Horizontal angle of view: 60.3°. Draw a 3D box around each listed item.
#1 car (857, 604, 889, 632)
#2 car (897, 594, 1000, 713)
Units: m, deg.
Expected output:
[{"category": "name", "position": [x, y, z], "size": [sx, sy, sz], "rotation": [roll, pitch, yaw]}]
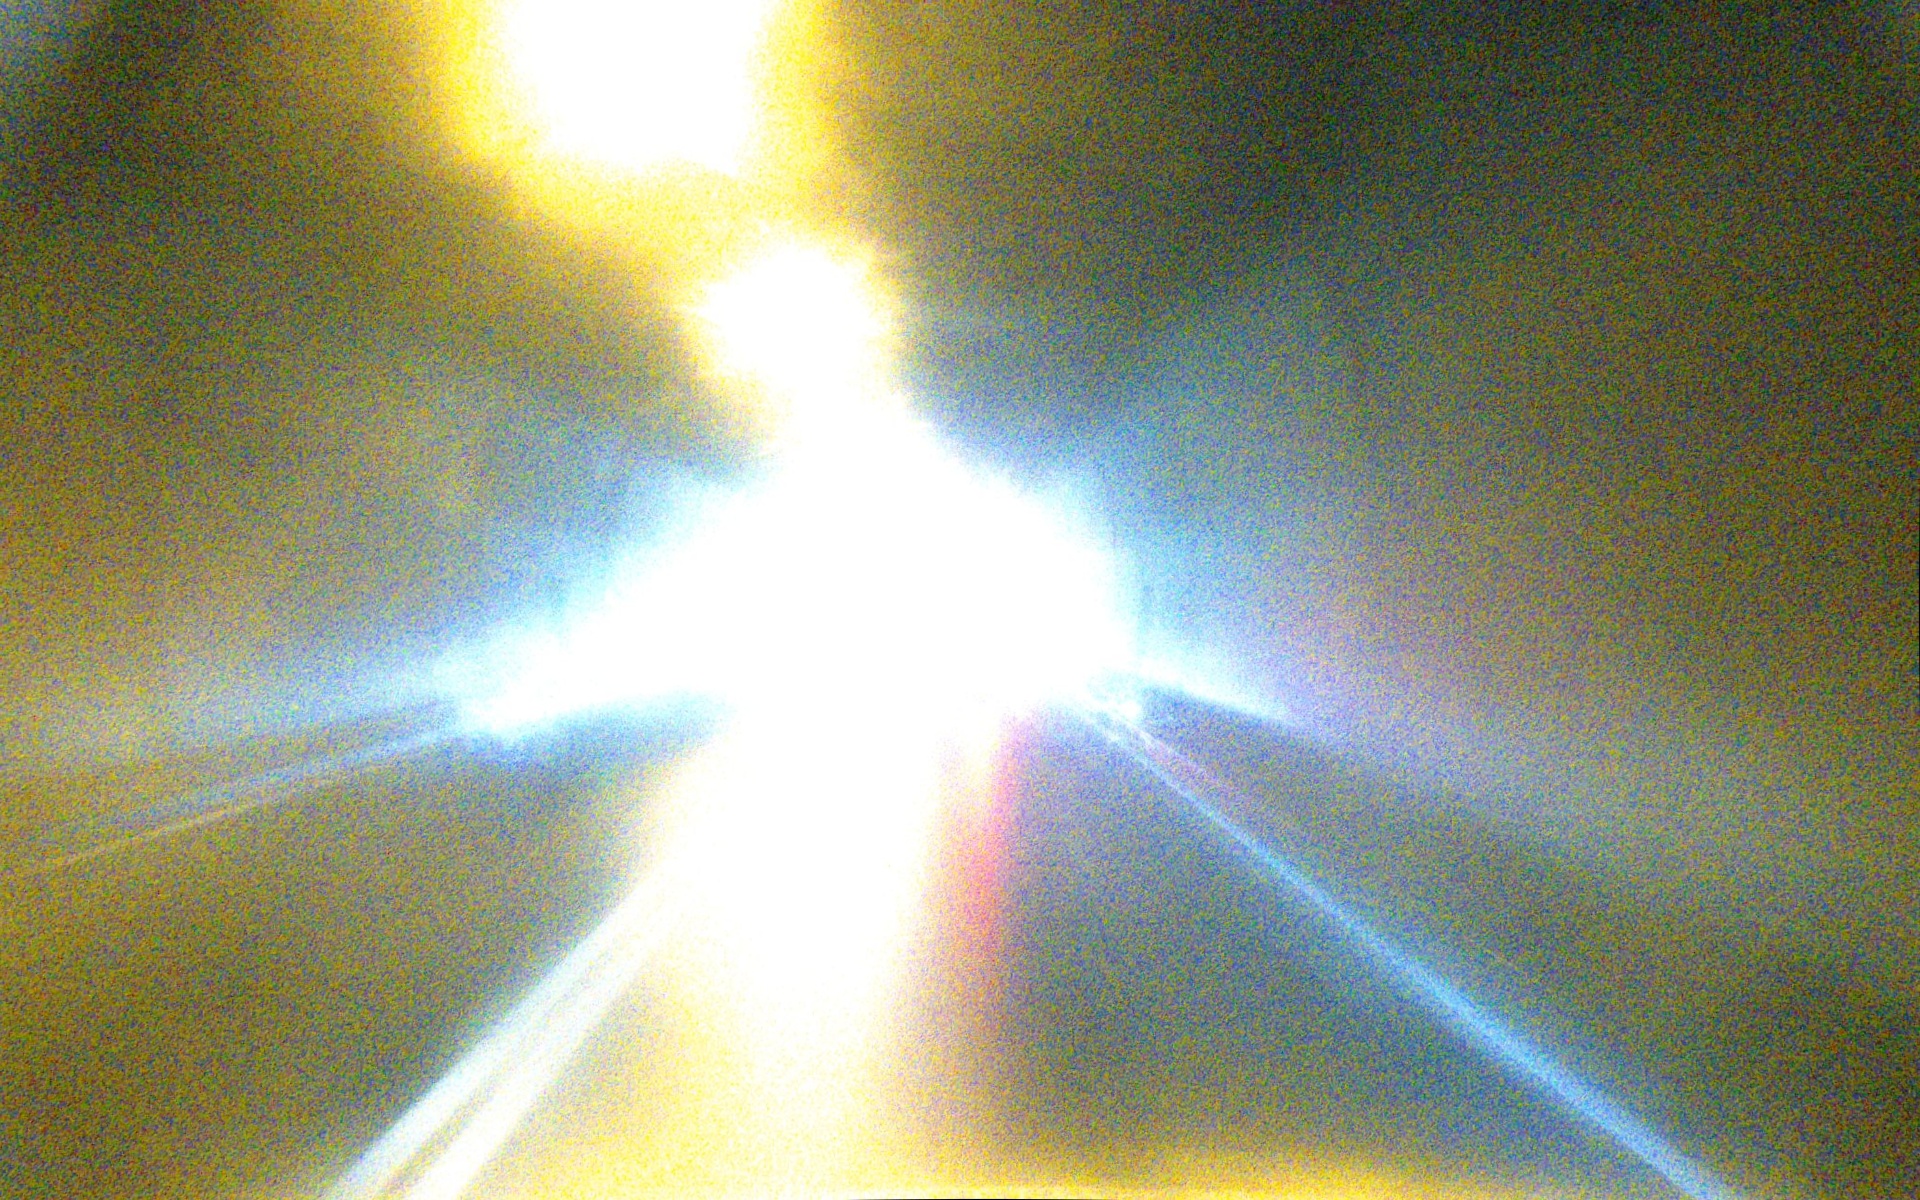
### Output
[{"category": "car", "position": [-4.806, 0.981, 91.775], "size": [1.741, 1.433, 4.292], "rotation": [-1, 1, -3]}, {"category": "car", "position": [-0.171, 0.839, 28.201], "size": [1.601, 1.788, 4.146], "rotation": [-1, 1, 0]}]
